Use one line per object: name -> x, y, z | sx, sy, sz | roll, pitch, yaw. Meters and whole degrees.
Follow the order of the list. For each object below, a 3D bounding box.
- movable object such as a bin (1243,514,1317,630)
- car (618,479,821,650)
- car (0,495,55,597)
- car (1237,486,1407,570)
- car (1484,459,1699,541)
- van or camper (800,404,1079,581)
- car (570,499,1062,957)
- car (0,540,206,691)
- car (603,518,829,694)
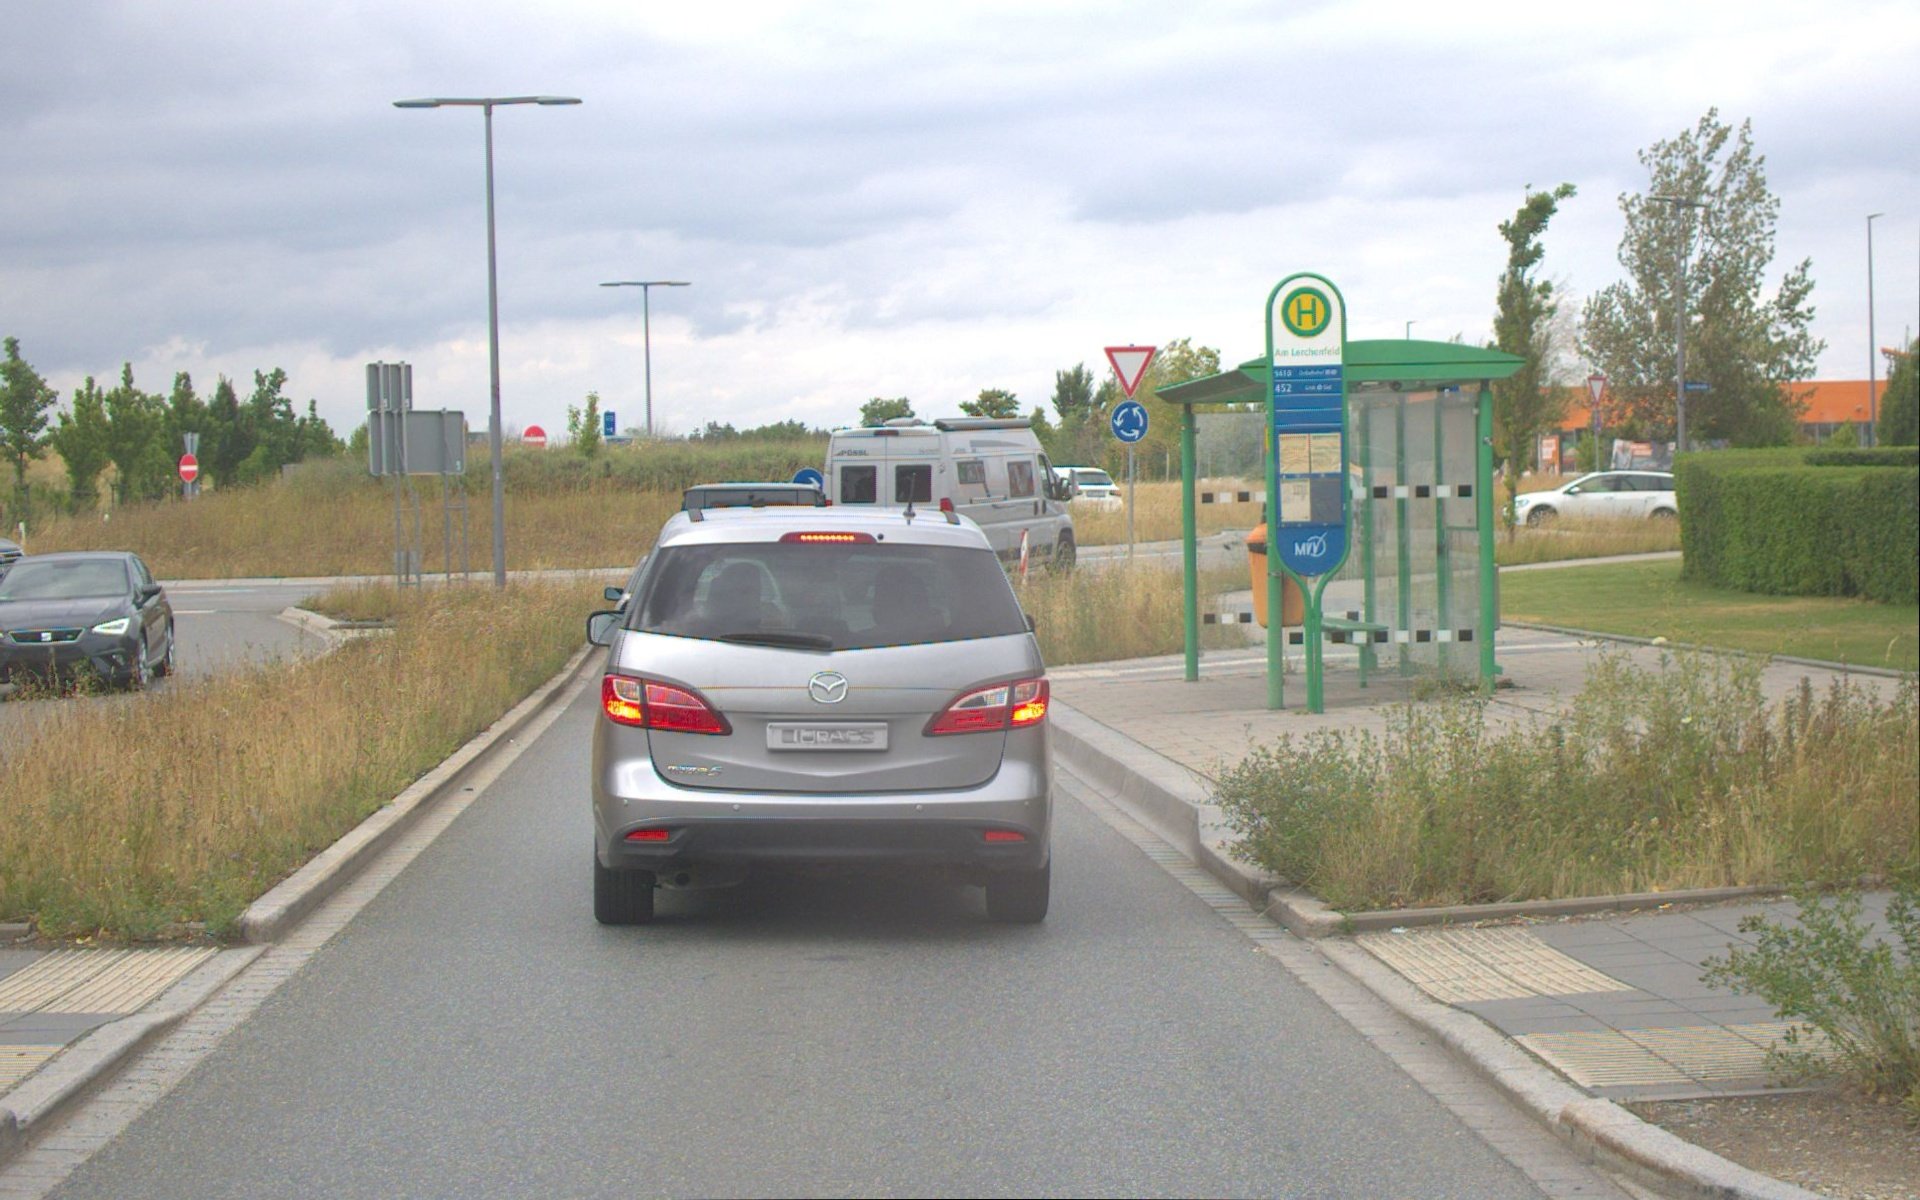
movable object such as a bin -> 2.235, -0.200, 24.023 | 0.456, 0.795, 0.380 | -1, 1, -4
car -> -2.702, -0.442, 39.621 | 2.058, 1.819, 4.787 | -1, 1, -1
car -> -16.998, -0.832, 55.869 | 4.197, 1.587, 2.061 | -1, 3, 32
car -> 6.848, -1.369, 64.705 | 1.996, 1.510, 3.995 | 0, 2, 25
car -> 14.089, -2.232, 76.930 | 4.603, 1.751, 2.000 | -1, 1, 7
van or camper -> -0.225, -1.598, 51.345 | 2.305, 2.497, 5.200 | 0, 2, 23
car -> -0.653, 0.396, 14.020 | 1.729, 1.594, 3.808 | 0, 2, -4
car -> -9.226, 0.131, 36.187 | 1.841, 1.402, 4.001 | -3, 2, -3
car -> -2.152, 0.002, 31.293 | 1.844, 1.413, 4.225 | -1, 2, -2
